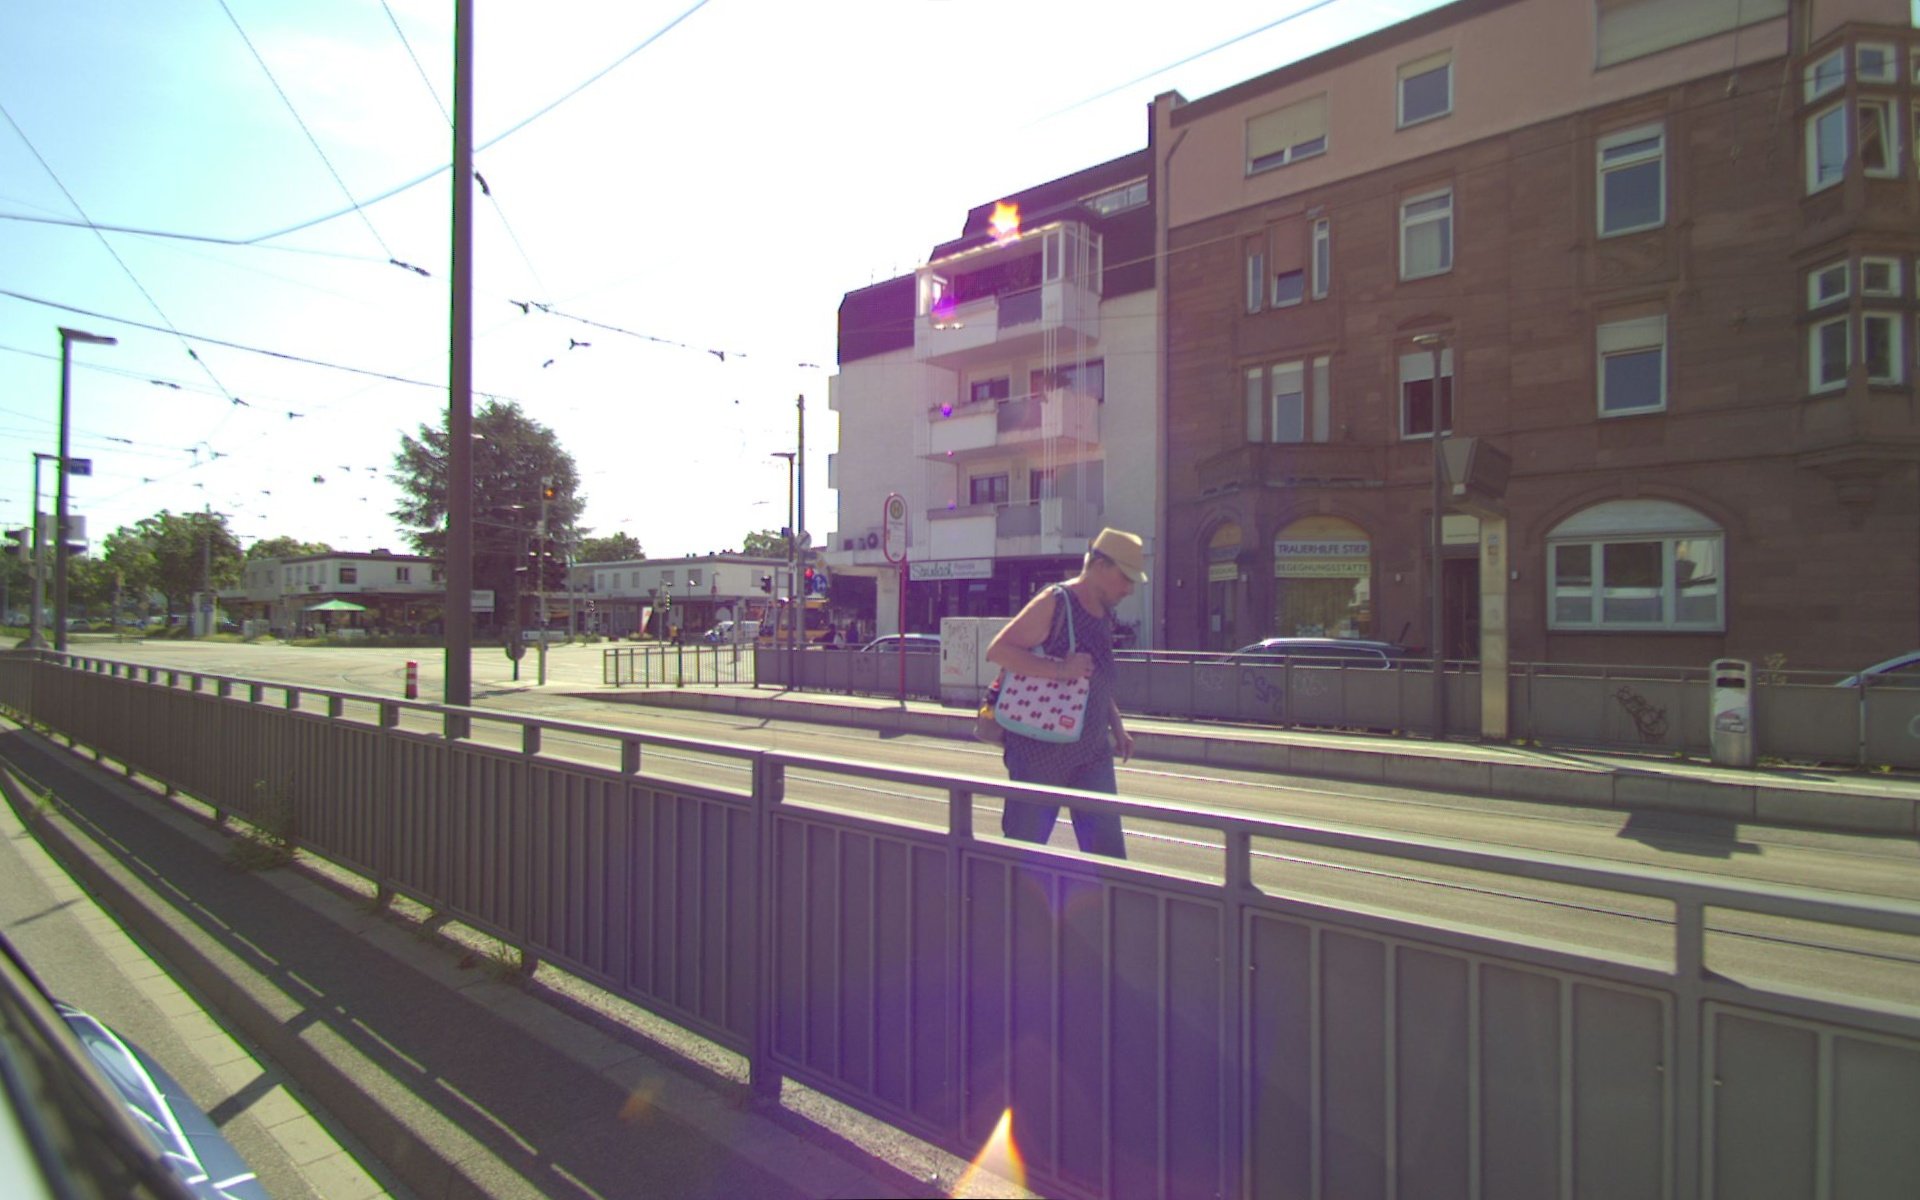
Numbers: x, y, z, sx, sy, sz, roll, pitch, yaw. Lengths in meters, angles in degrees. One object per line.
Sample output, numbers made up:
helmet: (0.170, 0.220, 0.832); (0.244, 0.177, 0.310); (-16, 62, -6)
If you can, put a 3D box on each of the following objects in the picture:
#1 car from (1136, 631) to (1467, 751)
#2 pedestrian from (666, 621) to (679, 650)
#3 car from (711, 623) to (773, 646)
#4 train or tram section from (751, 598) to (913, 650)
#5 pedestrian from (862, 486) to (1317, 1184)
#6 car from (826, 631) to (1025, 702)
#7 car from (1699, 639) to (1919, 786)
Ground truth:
car: (5.095, 1.278, 15.495); (4.470, 1.527, 1.694); (-2, -1, 41)
pedestrian: (-18.991, 2.325, 66.841); (0.602, 1.918, 0.604); (0, -2, 17)
car: (-17.072, 2.731, 79.297); (2.000, 1.763, 4.403); (-1, -3, 43)
train or tram section: (-9.105, 1.800, 74.321); (2.688, 3.507, 13.148); (-1, -2, 43)
pedestrian: (0.443, 0.647, 3.512); (1.237, 1.873, 0.970); (-1, -3, 41)
car: (-0.790, 1.313, 21.037); (4.076, 1.253, 1.694); (-1, 0, 41)
car: (10.391, 1.163, 10.833); (3.863, 1.480, 1.609); (-2, -2, 41)
